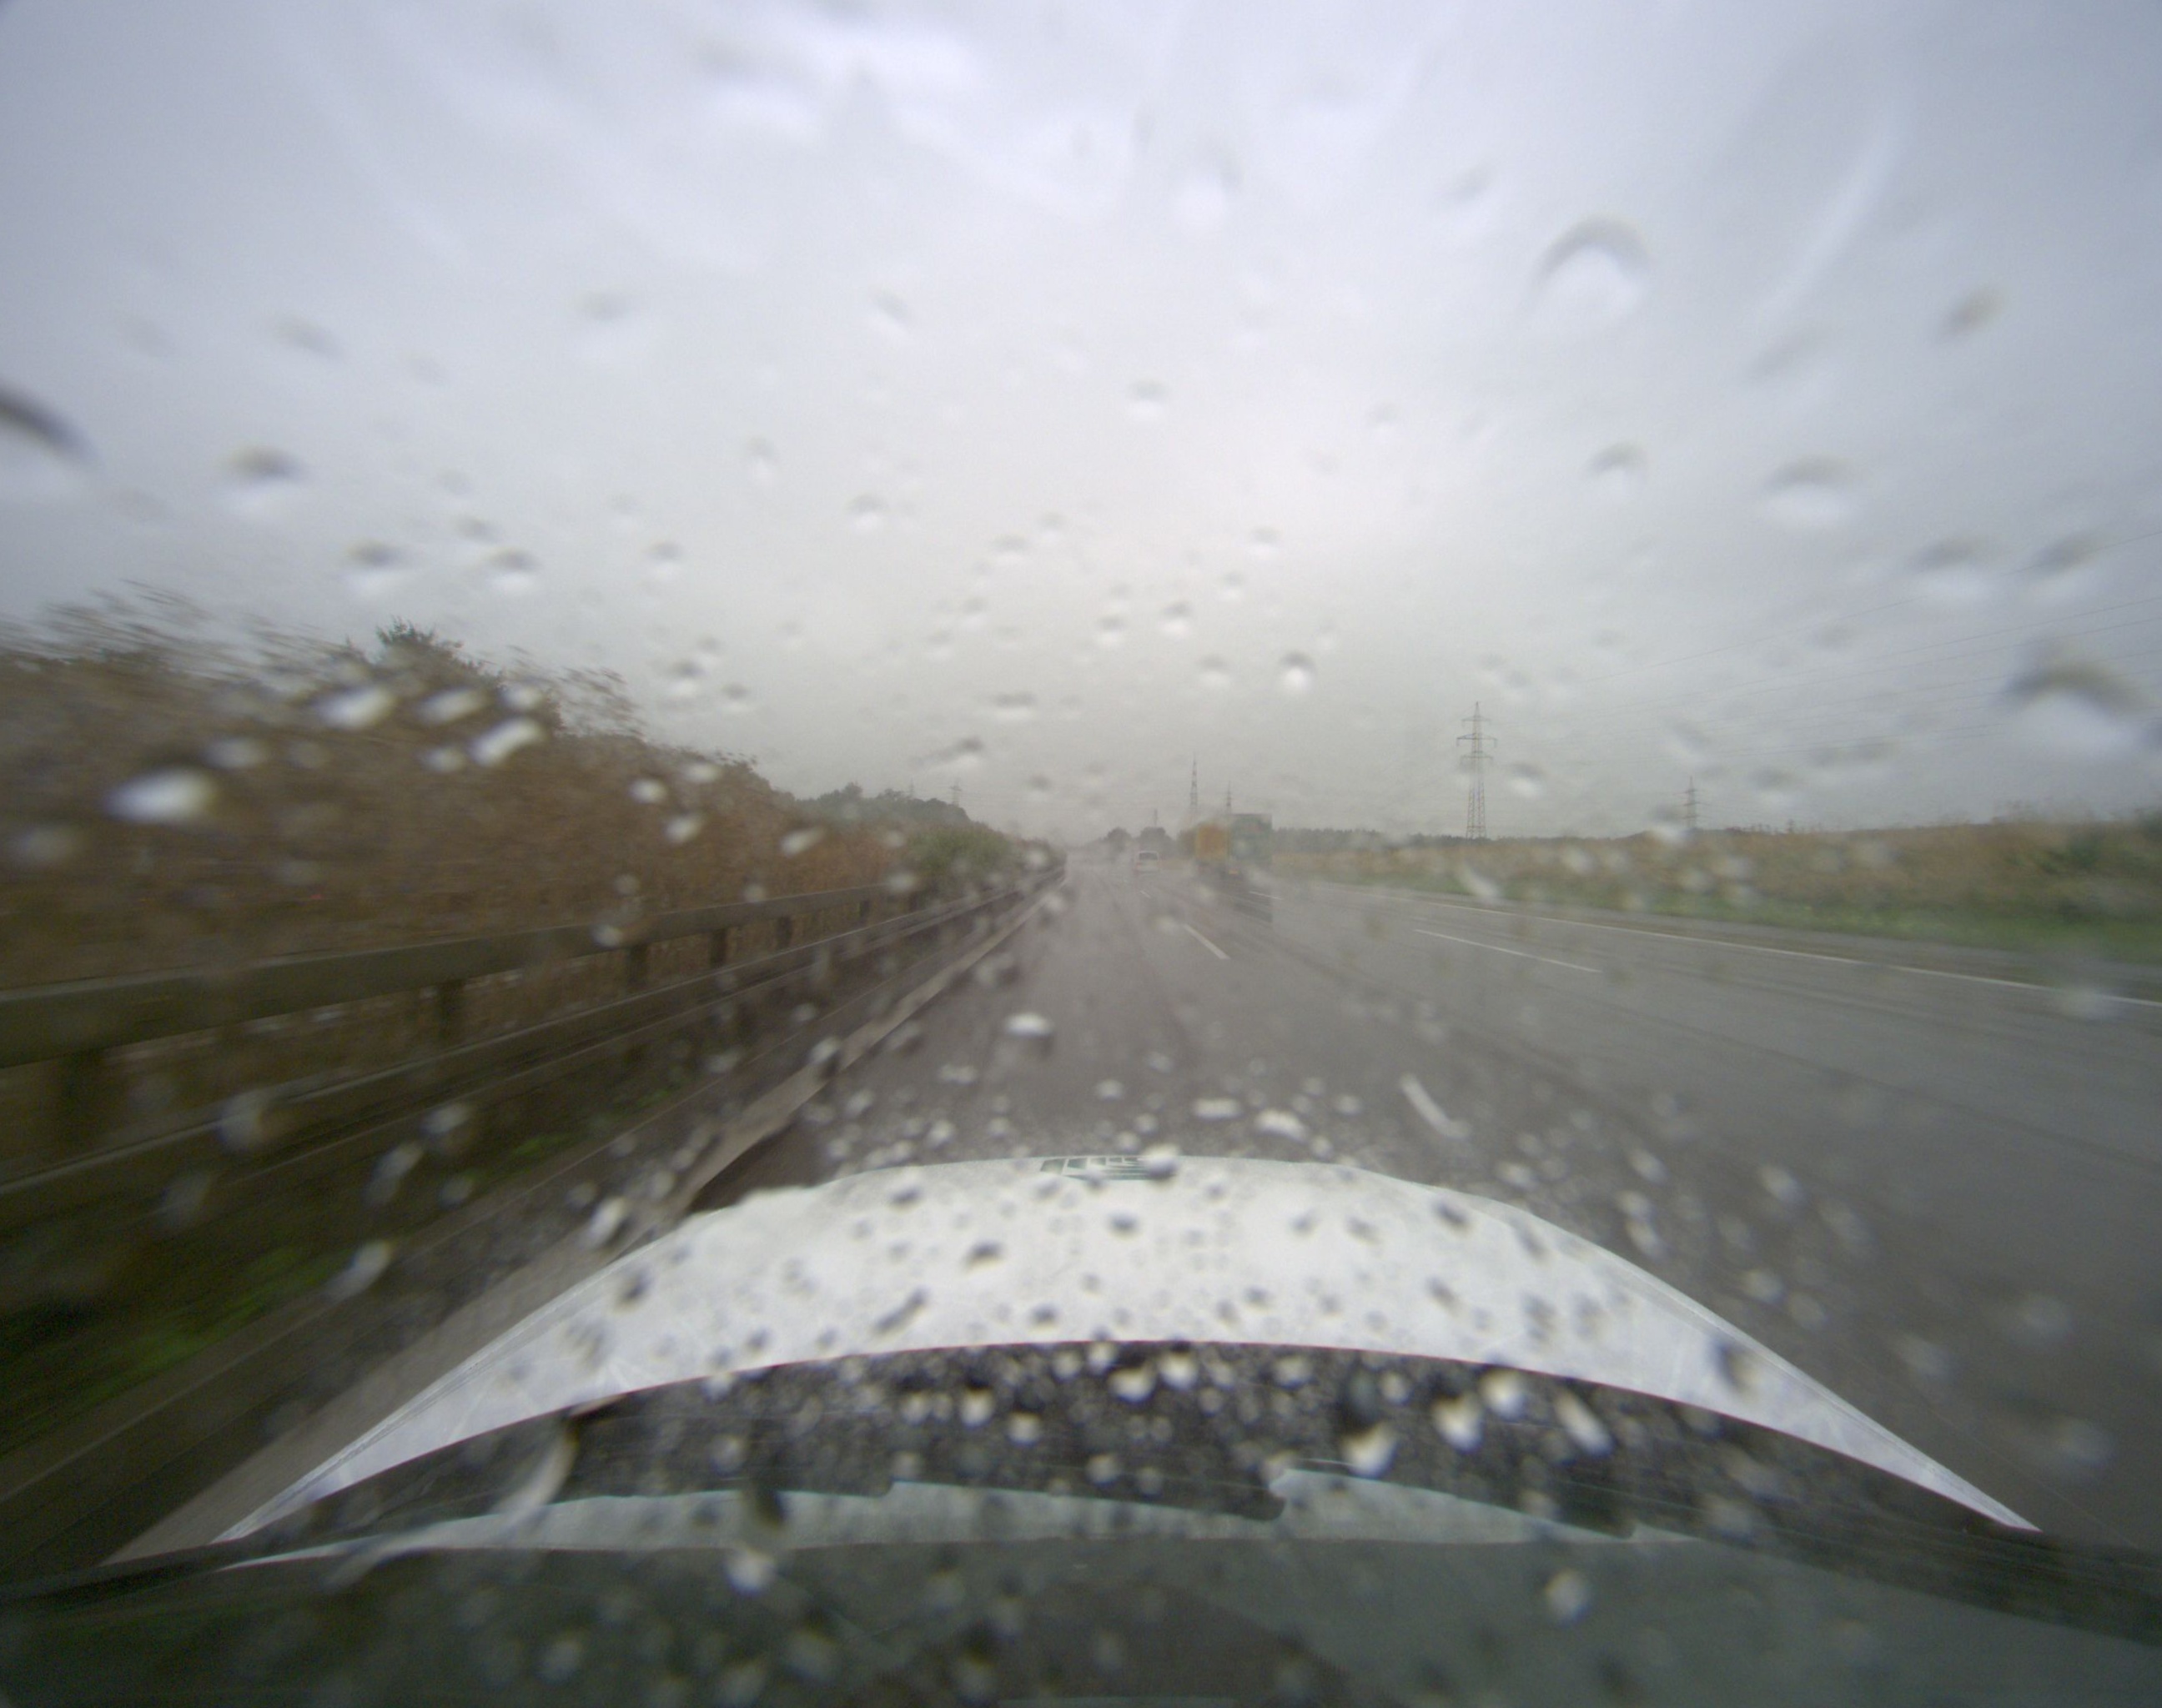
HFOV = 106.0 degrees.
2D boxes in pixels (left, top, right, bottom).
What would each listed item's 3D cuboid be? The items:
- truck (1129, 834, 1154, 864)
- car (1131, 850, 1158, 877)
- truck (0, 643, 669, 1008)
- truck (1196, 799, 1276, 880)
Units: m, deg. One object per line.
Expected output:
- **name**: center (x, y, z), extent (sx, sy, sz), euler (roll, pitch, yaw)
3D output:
- **truck**: center (9.095, -0.716, 123.061), extent (3.222, 4.311, 8.836), euler (0, 0, 0)
- **car**: center (4.944, 0.695, 62.741), extent (1.984, 2.013, 4.006), euler (0, 0, 5)
- **truck**: center (-17.077, -0.530, 19.533), extent (4.688, 5.043, 18.235), euler (0, 1, 1)
- **truck**: center (10.025, -0.789, 54.846), extent (4.167, 4.630, 16.136), euler (0, 0, 7)
